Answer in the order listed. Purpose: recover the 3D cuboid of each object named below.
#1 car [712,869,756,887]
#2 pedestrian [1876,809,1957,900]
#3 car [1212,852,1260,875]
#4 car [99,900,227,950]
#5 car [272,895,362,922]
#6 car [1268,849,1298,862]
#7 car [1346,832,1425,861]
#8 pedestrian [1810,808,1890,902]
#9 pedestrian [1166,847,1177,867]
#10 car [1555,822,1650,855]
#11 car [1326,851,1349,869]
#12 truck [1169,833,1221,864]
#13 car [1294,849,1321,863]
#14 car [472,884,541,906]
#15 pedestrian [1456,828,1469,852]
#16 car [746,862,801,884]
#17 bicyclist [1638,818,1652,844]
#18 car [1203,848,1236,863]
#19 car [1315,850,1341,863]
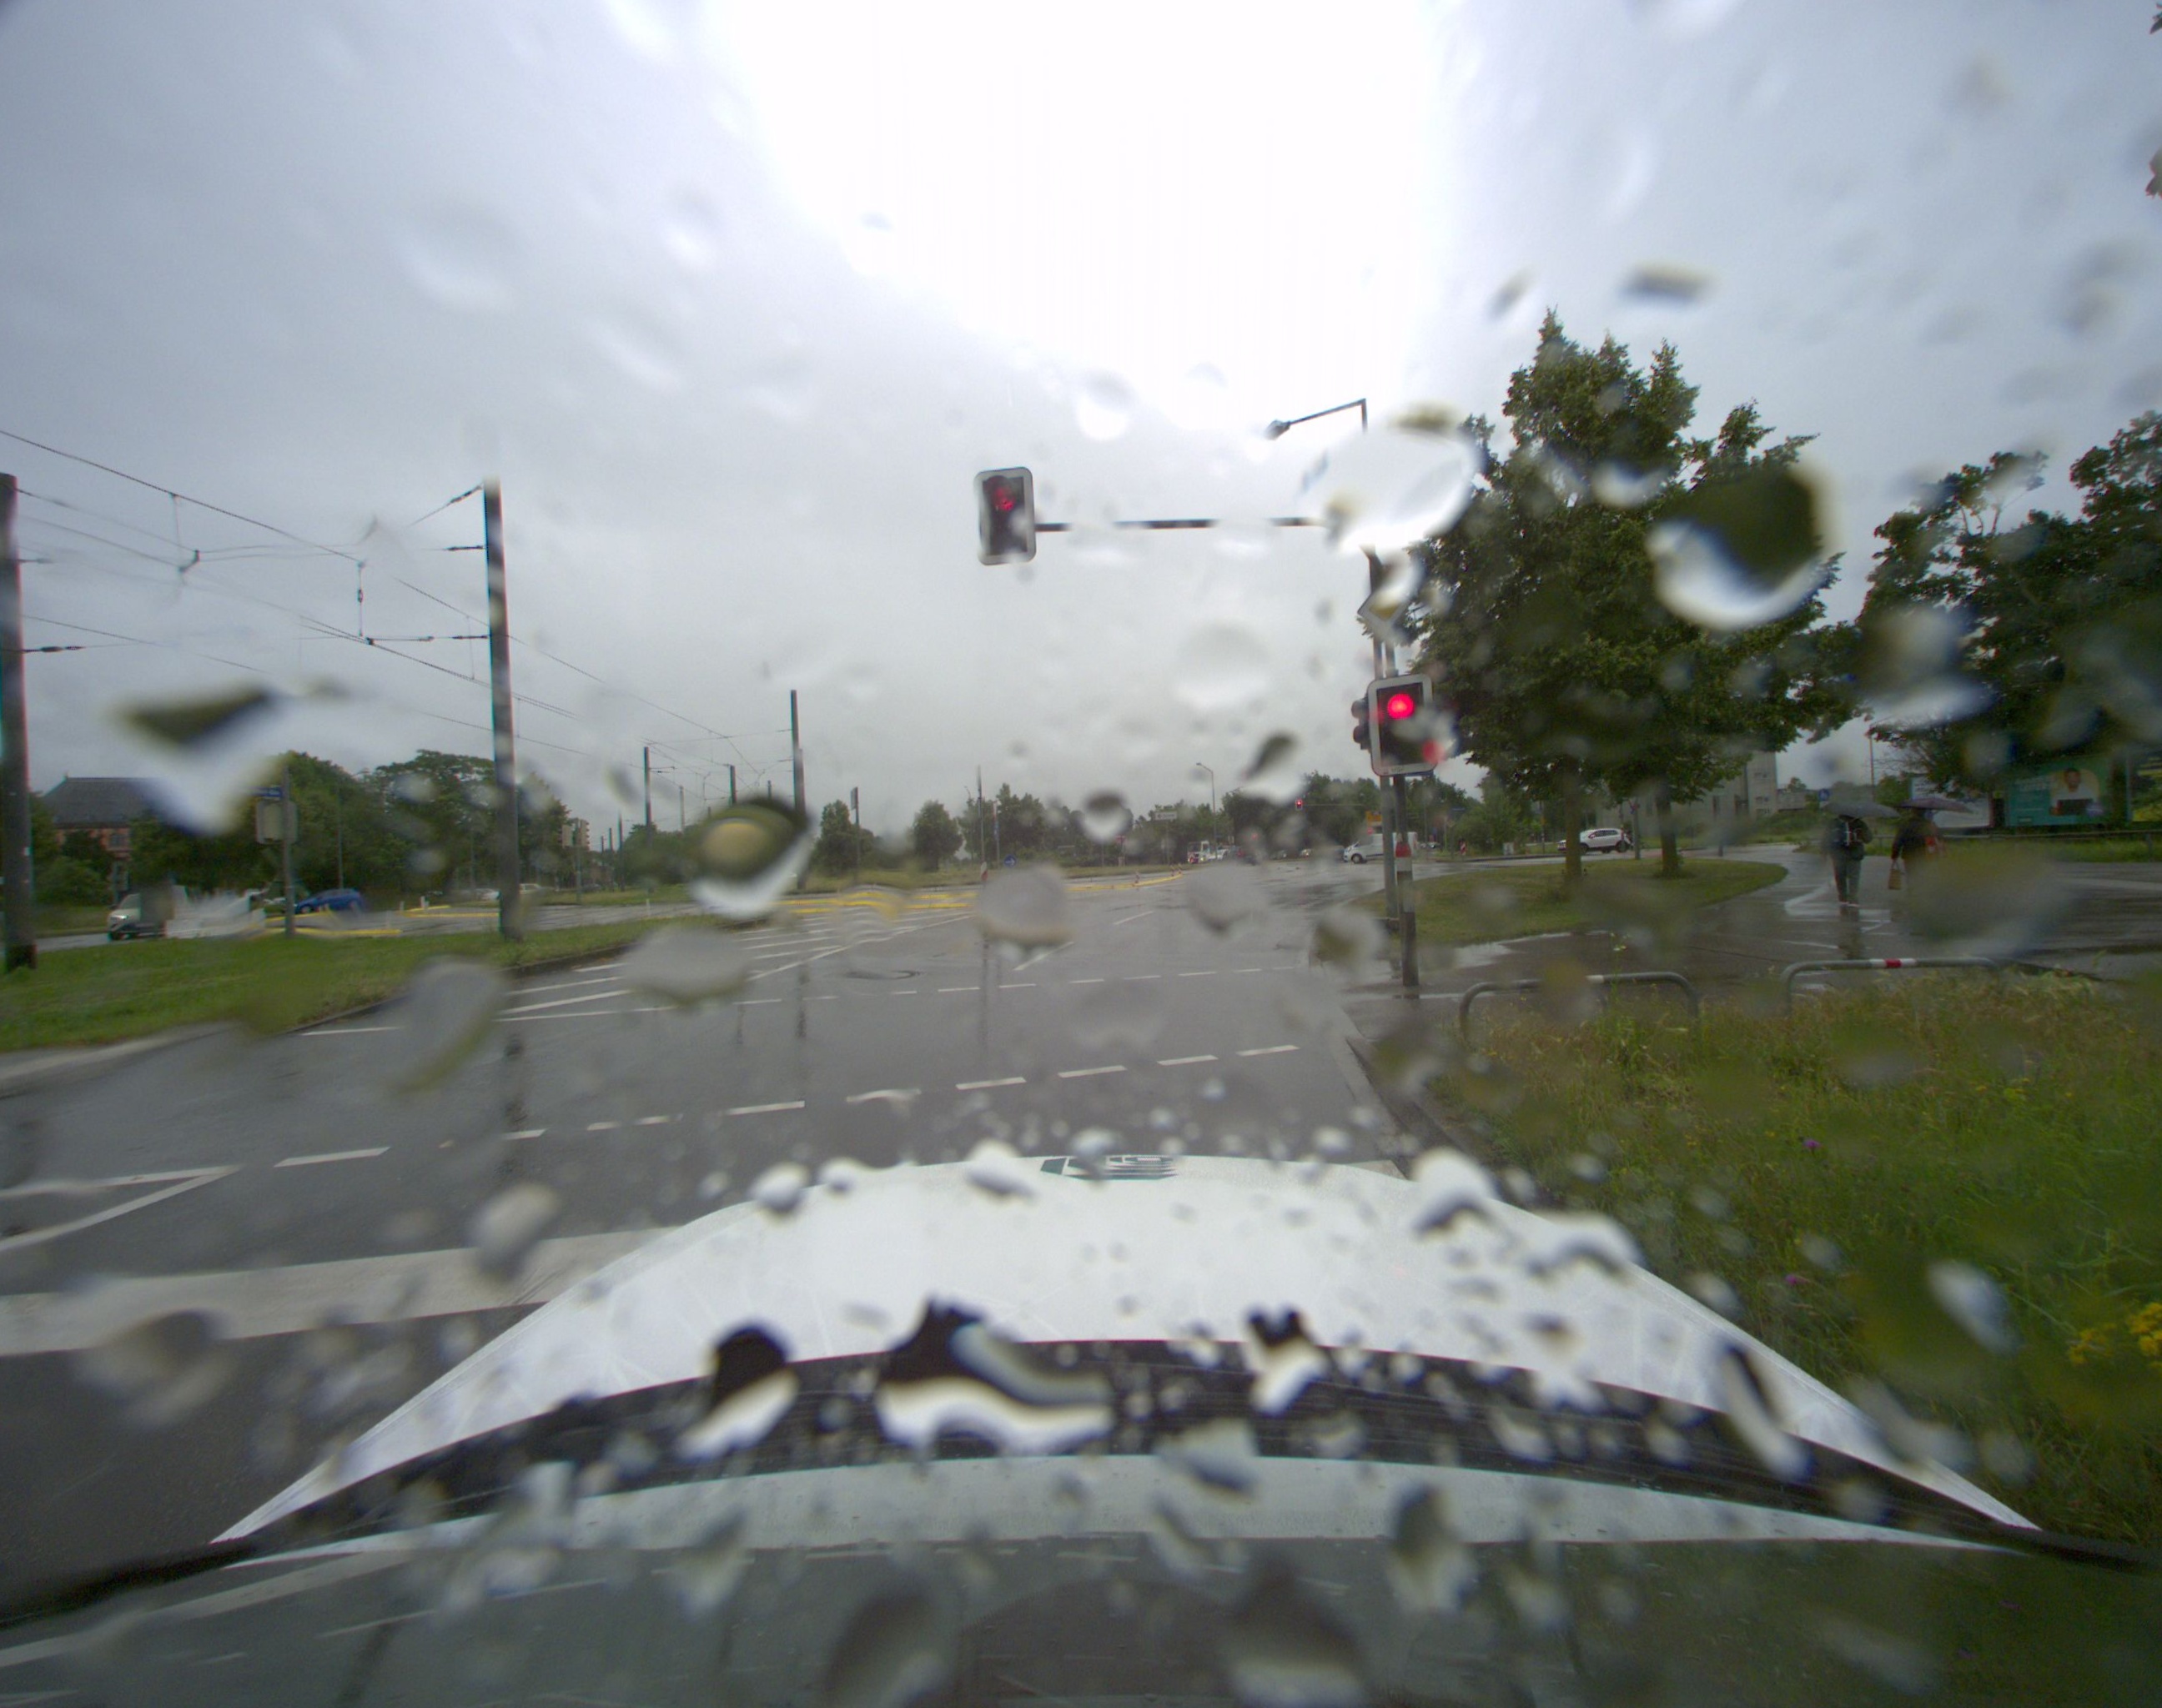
[{"bbox_3d":[-36.821,2.514,86.533,1.660,1.816,4.025,-1,-1,31],"label":"car"},{"bbox_3d":[14.116,0.008,13.771,0.678,1.461,0.573,-3,-1,-3],"label":"pedestrian"},{"bbox_3d":[12.948,0.824,68.415,1.998,1.851,4.747,0,-1,-17],"label":"car"},{"bbox_3d":[-32.742,2.481,29.196,1.627,1.454,4.076,-2,0,-27],"label":"car"},{"bbox_3d":[-50.991,3.637,54.446,1.603,1.454,4.012,-3,0,27],"label":"car"},{"bbox_3d":[25.283,0.217,101.807,1.779,1.662,4.436,-1,-1,43],"label":"car"},{"bbox_3d":[20.469,-0.454,54.753,4.715,1.851,2.012,-1,-1,29],"label":"car"},{"bbox_3d":[12.806,0.014,13.575,0.619,1.522,0.741,-1,0,0],"label":"pedestrian"},{"bbox_3d":[6.034,0.229,54.319,0.448,1.304,0.489,-3,-1,40],"label":"pedestrian"},{"bbox_3d":[33.043,-0.971,51.647,4.748,1.851,1.998,-3,0,-2],"label":"car"},{"bbox_3d":[22.275,0.470,70.702,1.606,1.454,4.003,-2,0,14],"label":"car"},{"bbox_3d":[10.435,-0.409,74.027,2.439,2.686,8.105,-1,-1,25],"label":"truck"},{"bbox_3d":[29.770,0.281,106.886,1.779,1.662,4.024,-1,-1,41],"label":"car"},{"bbox_3d":[-44.423,3.145,63.001,1.602,1.454,4.013,-3,0,34],"label":"car"},{"bbox_3d":[30.861,-1.139,65.881,0.811,1.868,0.670,0,-1,9],"label":"pedestrian"},{"bbox_3d":[-29.241,1.804,77.466,4.784,1.851,1.983,-2,0,-25],"label":"car"},{"bbox_3d":[38.296,-1.548,55.286,0.585,1.742,0.498,-1,-1,13],"label":"bicyclist"},{"bbox_3d":[16.338,0.163,95.970,1.779,1.662,4.159,-1,-1,43],"label":"car"},{"bbox_3d":[34.360,0.367,113.268,1.779,1.662,4.024,-1,-1,43],"label":"car"}]
